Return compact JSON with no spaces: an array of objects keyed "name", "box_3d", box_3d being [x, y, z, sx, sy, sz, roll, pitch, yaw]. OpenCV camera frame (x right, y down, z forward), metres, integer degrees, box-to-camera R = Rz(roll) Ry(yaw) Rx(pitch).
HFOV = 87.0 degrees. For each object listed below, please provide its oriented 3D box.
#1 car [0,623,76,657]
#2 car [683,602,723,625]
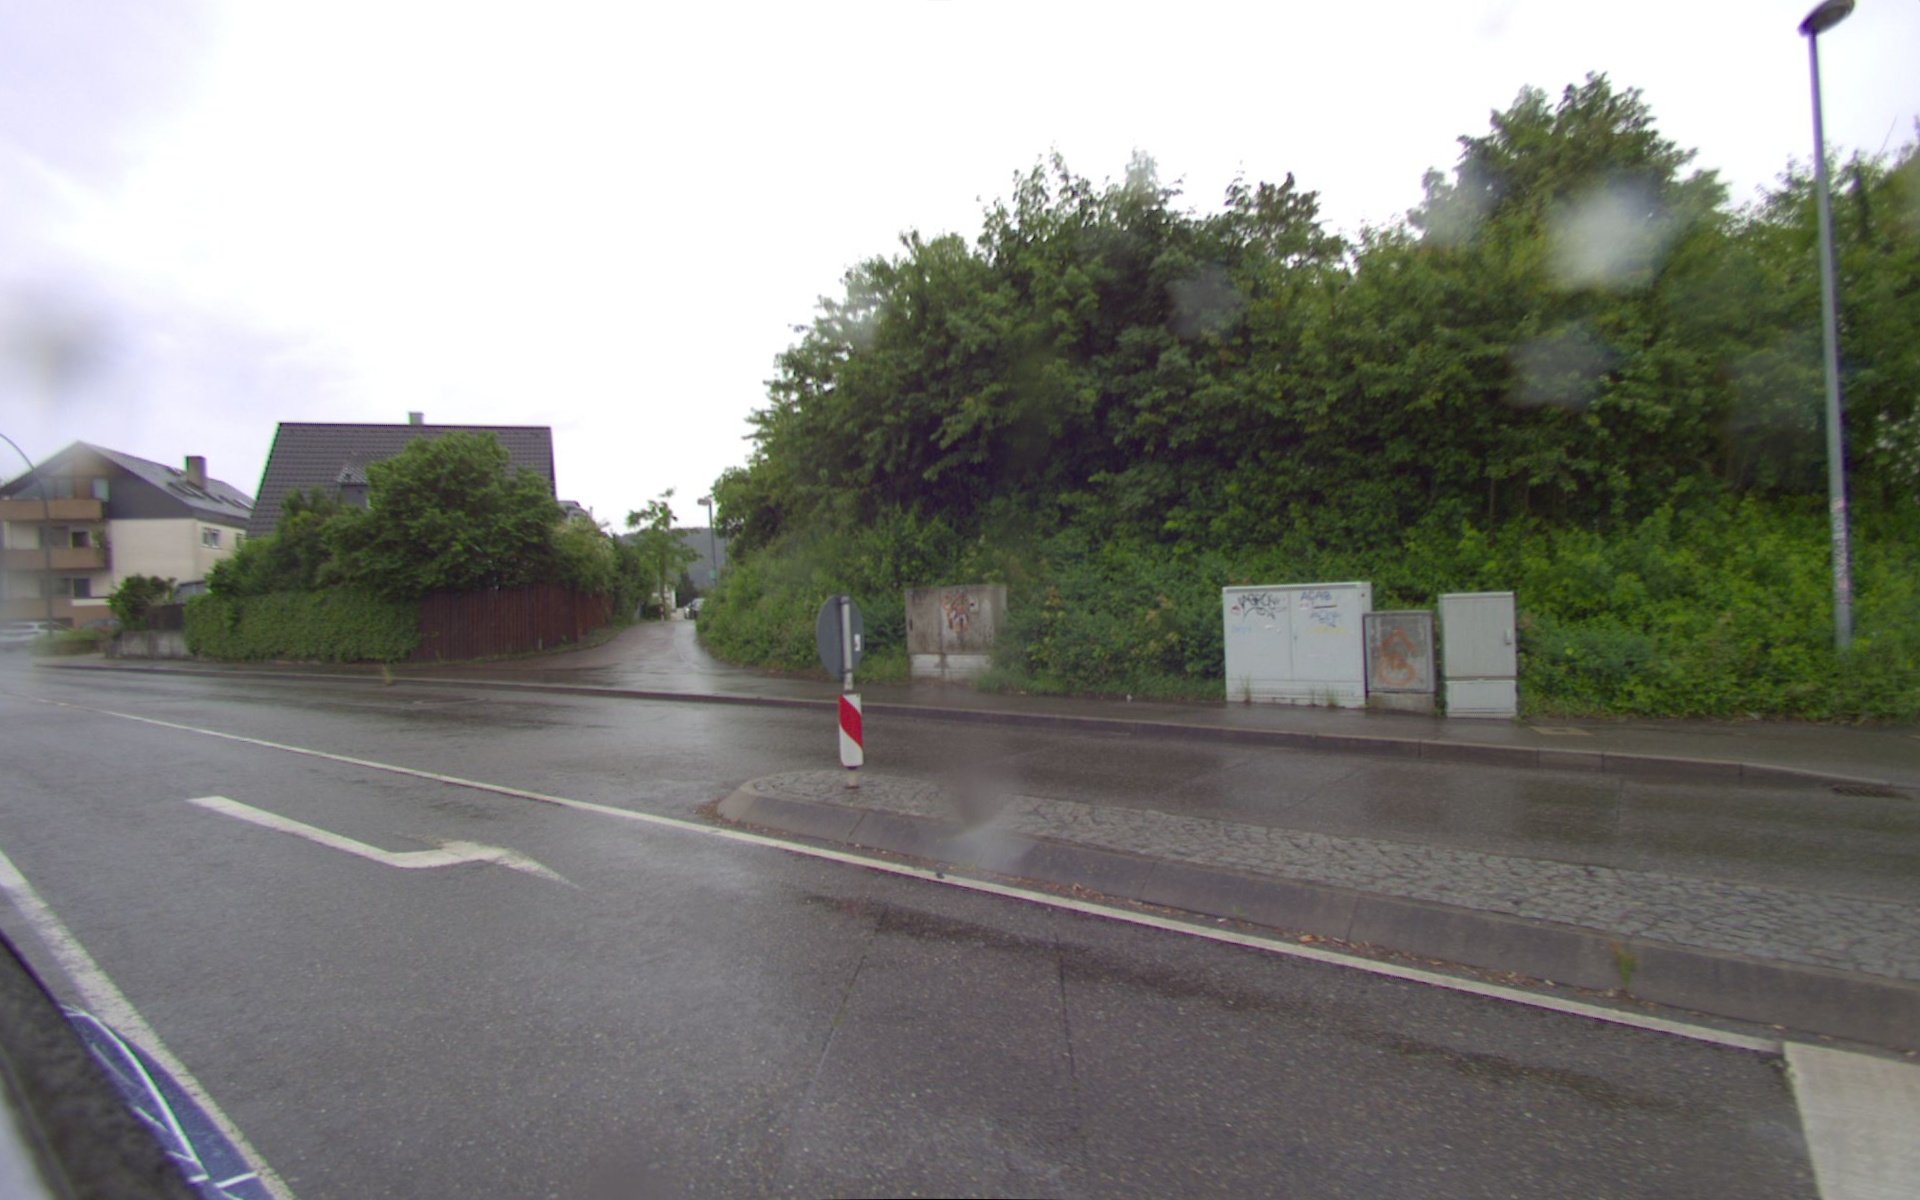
[{"name":"car","box_3d":[-47.989,2.030,52.493,1.638,1.558,4.011,-1,0,-15]},{"name":"car","box_3d":[-17.181,0.898,67.535,1.867,1.494,4.013,-1,0,-25]}]
